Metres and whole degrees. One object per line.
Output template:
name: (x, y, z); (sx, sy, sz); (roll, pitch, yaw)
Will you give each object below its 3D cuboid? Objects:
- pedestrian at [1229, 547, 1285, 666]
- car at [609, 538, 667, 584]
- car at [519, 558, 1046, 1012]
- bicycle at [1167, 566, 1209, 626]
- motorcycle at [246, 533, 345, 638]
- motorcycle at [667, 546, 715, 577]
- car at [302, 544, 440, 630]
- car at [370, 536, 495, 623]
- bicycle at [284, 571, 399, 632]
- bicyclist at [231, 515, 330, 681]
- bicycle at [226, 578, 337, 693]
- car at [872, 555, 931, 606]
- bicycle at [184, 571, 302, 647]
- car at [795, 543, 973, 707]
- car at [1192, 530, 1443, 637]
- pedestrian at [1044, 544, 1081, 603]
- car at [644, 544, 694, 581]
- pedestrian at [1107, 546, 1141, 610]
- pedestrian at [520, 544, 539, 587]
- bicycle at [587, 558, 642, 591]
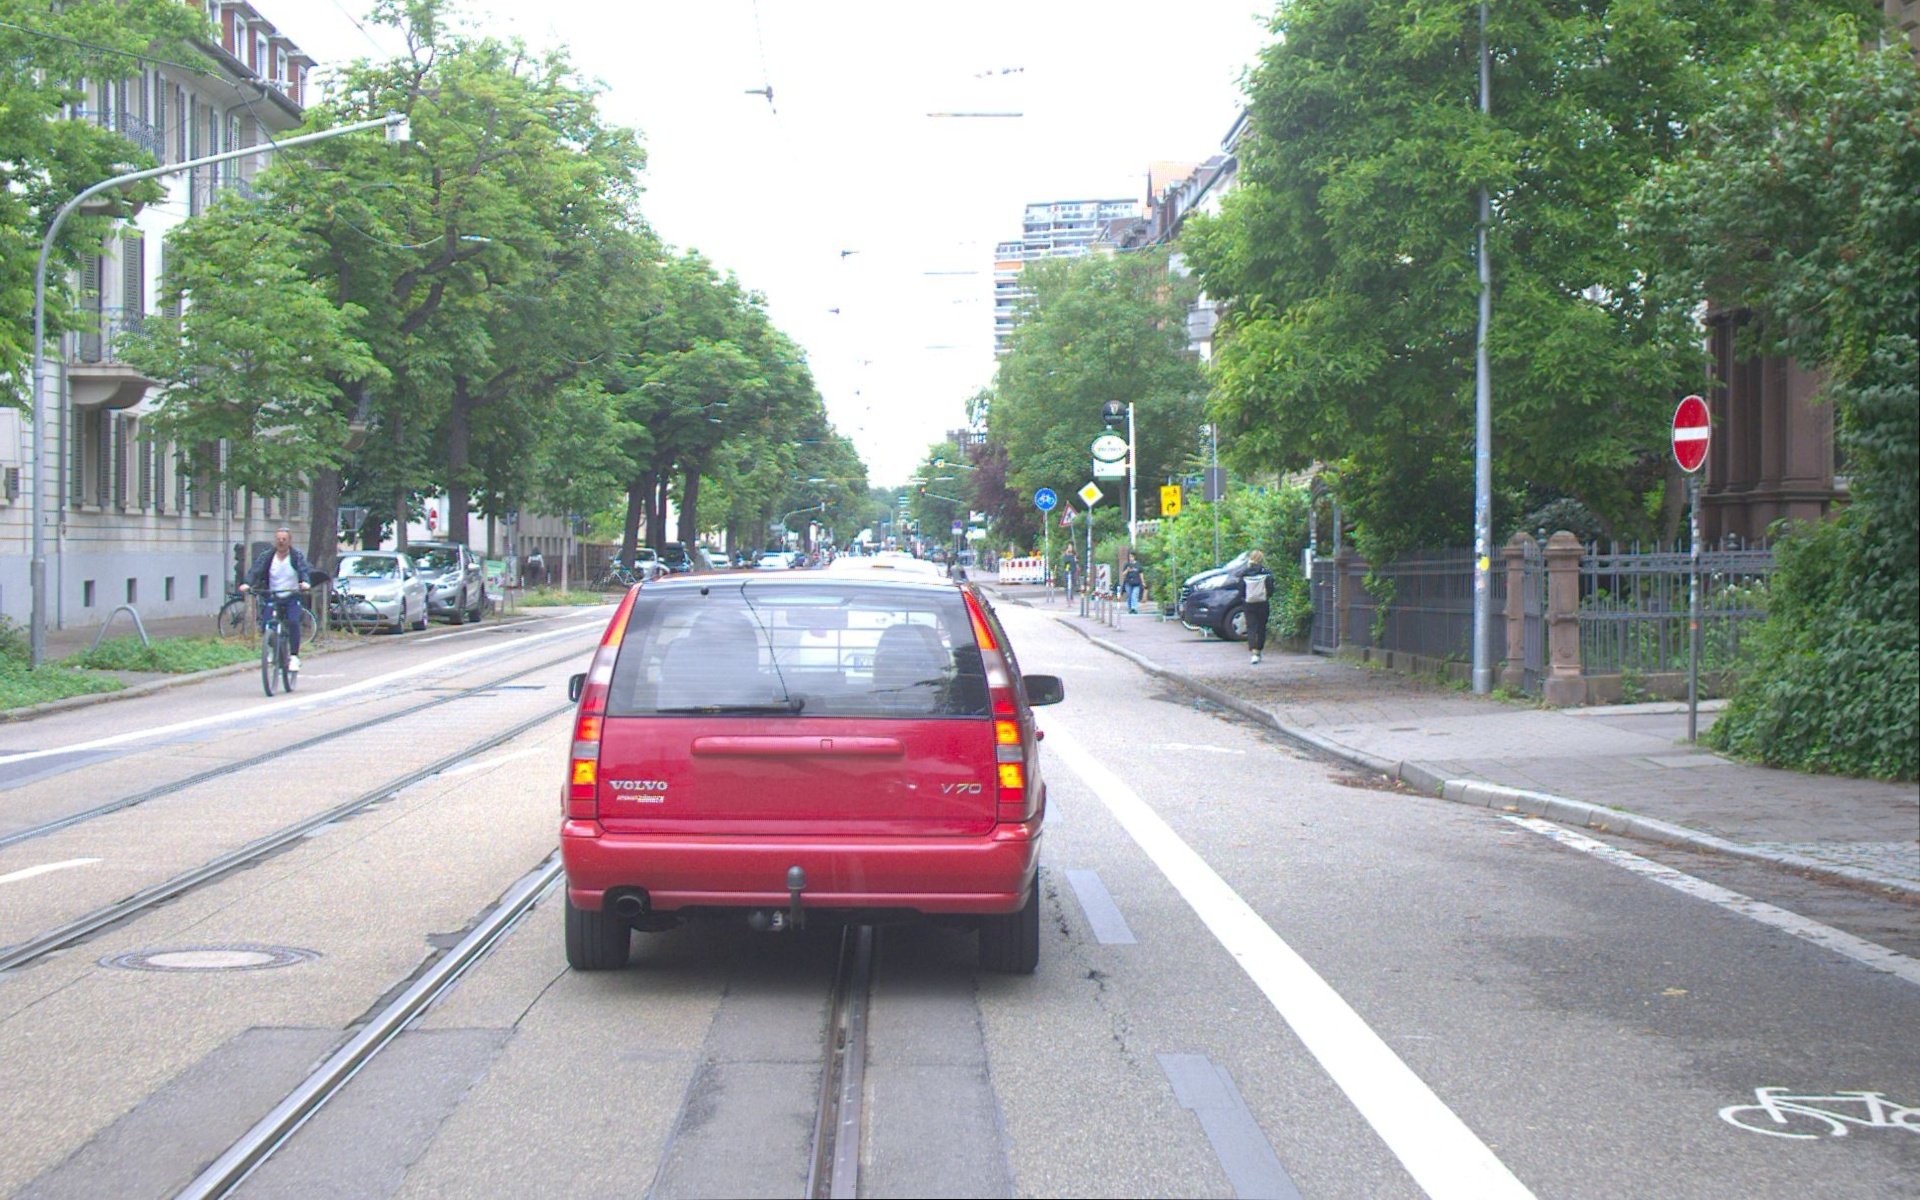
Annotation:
pedestrian: (4.293, 0.087, 49.740); (0.623, 1.665, 0.960); (-3, 1, -2)
car: (-12.069, -1.470, 129.120); (1.897, 1.650, 4.226); (1, 1, -2)
car: (-0.582, 0.573, 12.918); (1.689, 1.436, 3.743); (0, 1, 0)
bicycle: (4.477, -0.089, 67.603); (0.632, 1.124, 1.812); (-2, 2, -2)
motorcycle: (-10.633, -0.241, 55.132); (0.833, 1.637, 2.479); (1, 1, 7)
motorcycle: (-13.253, -1.914, 169.330); (2.269, 1.506, 0.925); (1, -1, 34)
car: (-10.593, -0.259, 62.068); (1.811, 1.461, 4.614); (1, 1, -2)
car: (-10.782, -0.443, 70.559); (1.837, 1.655, 4.293); (3, 1, 0)
bicycle: (-10.564, 0.028, 58.734); (1.894, 1.023, 0.564); (0, 1, -5)
bicyclist: (-7.525, -0.033, 38.100); (0.791, 1.777, 1.147); (-3, 1, -1)
bicycle: (-7.504, 0.379, 38.100); (0.791, 1.182, 2.011); (-3, 1, -1)
car: (-1.908, -0.646, 111.582); (1.741, 1.600, 4.001); (0, 1, -3)
bicycle: (-11.030, 0.131, 52.891); (1.743, 1.125, 0.517); (1, 1, 17)
car: (-0.753, 0.225, 36.279); (1.719, 1.619, 3.941); (1, 1, 1)
car: (6.337, -0.308, 61.237); (4.280, 1.803, 1.823); (-1, 1, 1)
pedestrian: (2.875, -0.742, 96.027); (0.873, 1.650, 0.908); (1, 1, 12)
car: (-12.518, -1.617, 147.892); (1.777, 1.505, 4.238); (1, 1, 0)
pedestrian: (4.204, -0.561, 88.110); (0.793, 1.630, 0.836); (1, 1, -1)
pedestrian: (-14.781, -1.176, 117.968); (0.564, 1.462, 0.723); (0, 1, -1)
bicycle: (-12.568, -0.931, 124.960); (1.922, 1.117, 0.624); (2, 1, -1)
